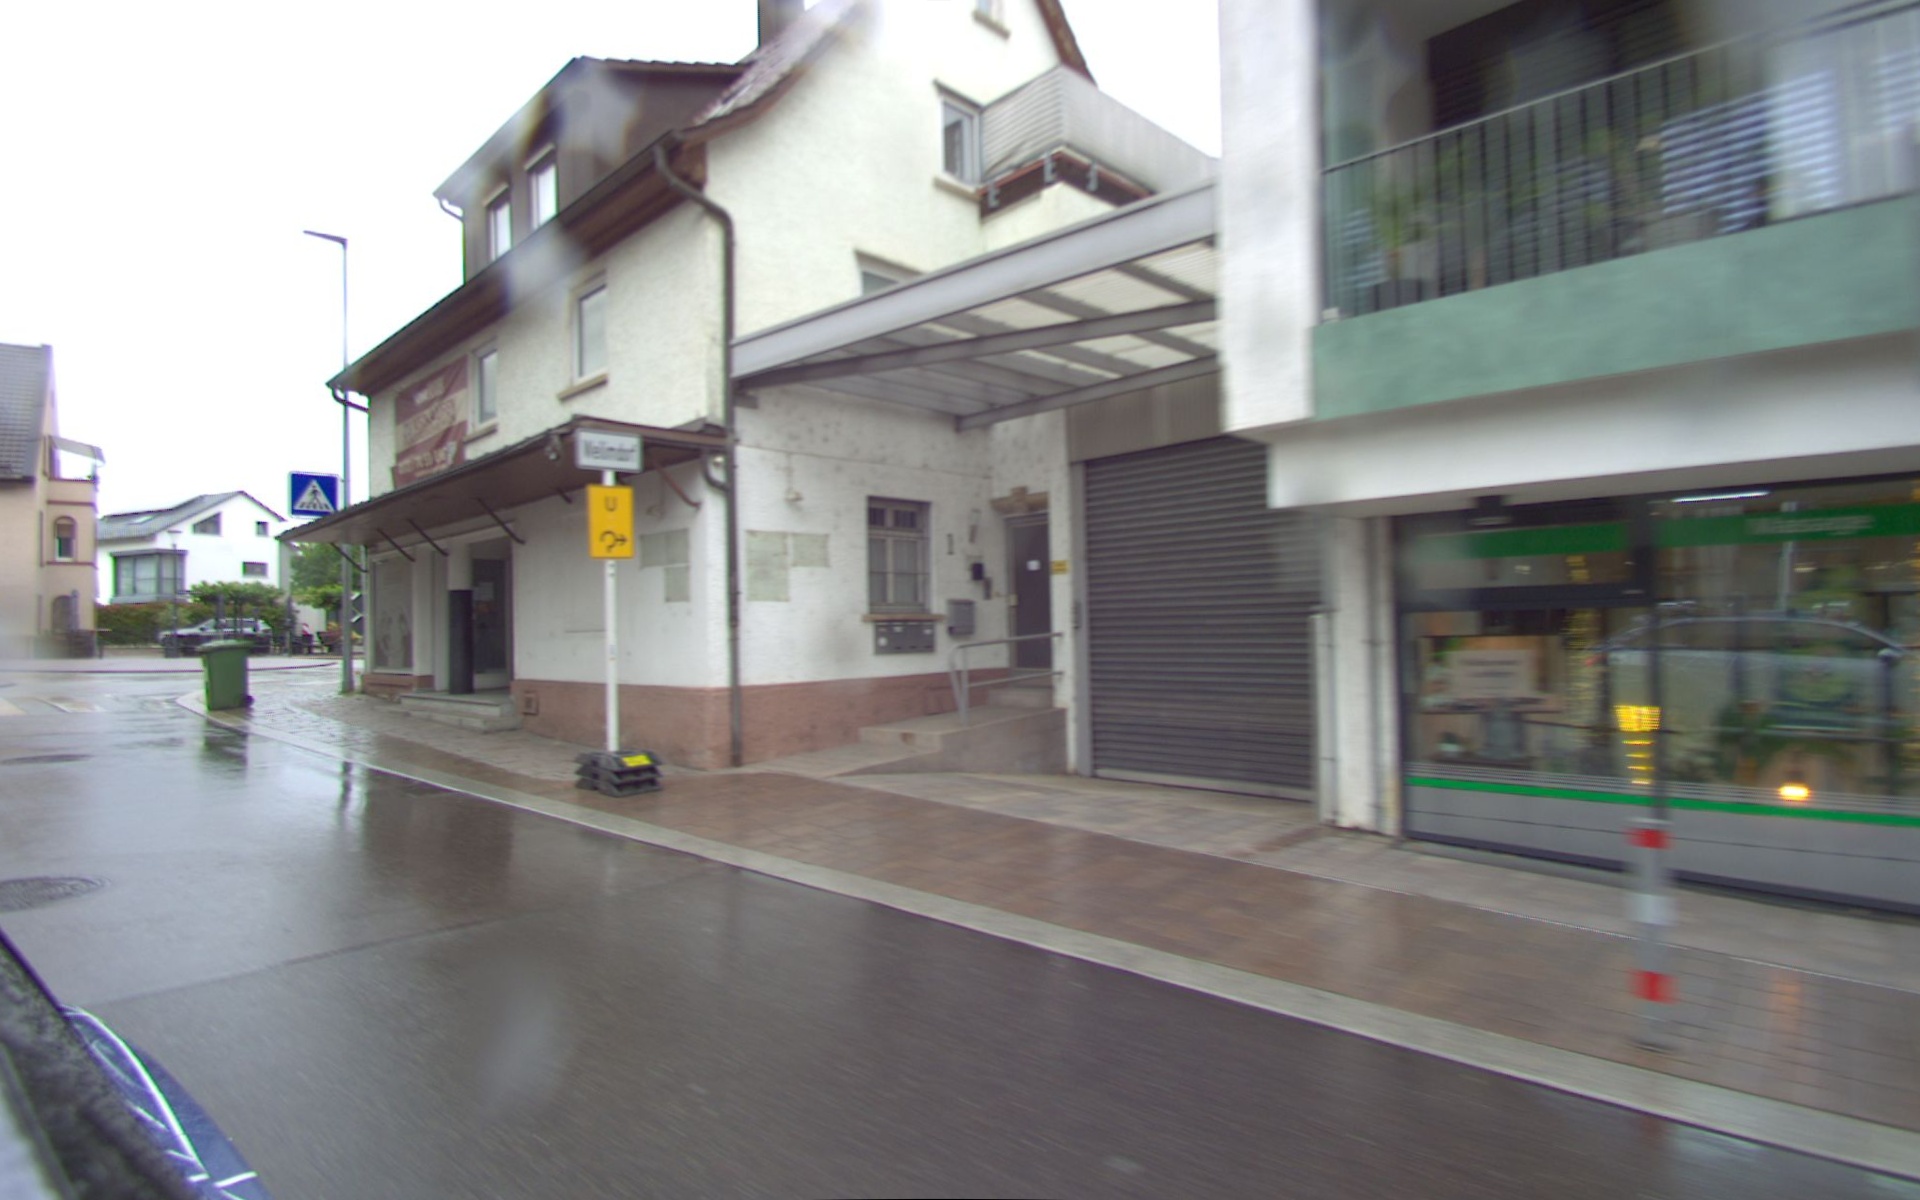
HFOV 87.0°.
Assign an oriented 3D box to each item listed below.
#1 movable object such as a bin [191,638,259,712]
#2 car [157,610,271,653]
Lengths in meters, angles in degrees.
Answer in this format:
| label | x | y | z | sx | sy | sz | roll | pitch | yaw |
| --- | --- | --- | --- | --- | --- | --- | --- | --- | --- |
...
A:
| label | x | y | z | sx | sy | sz | roll | pitch | yaw |
| --- | --- | --- | --- | --- | --- | --- | --- | --- | --- |
| movable object such as a bin | -11.735 | 1.179 | 16.153 | 0.760 | 1.089 | 0.680 | -1 | 1 | 39 |
| car | -37.475 | 1.615 | 50.996 | 4.412 | 2.029 | 2.005 | 3 | -4 | -33 |
